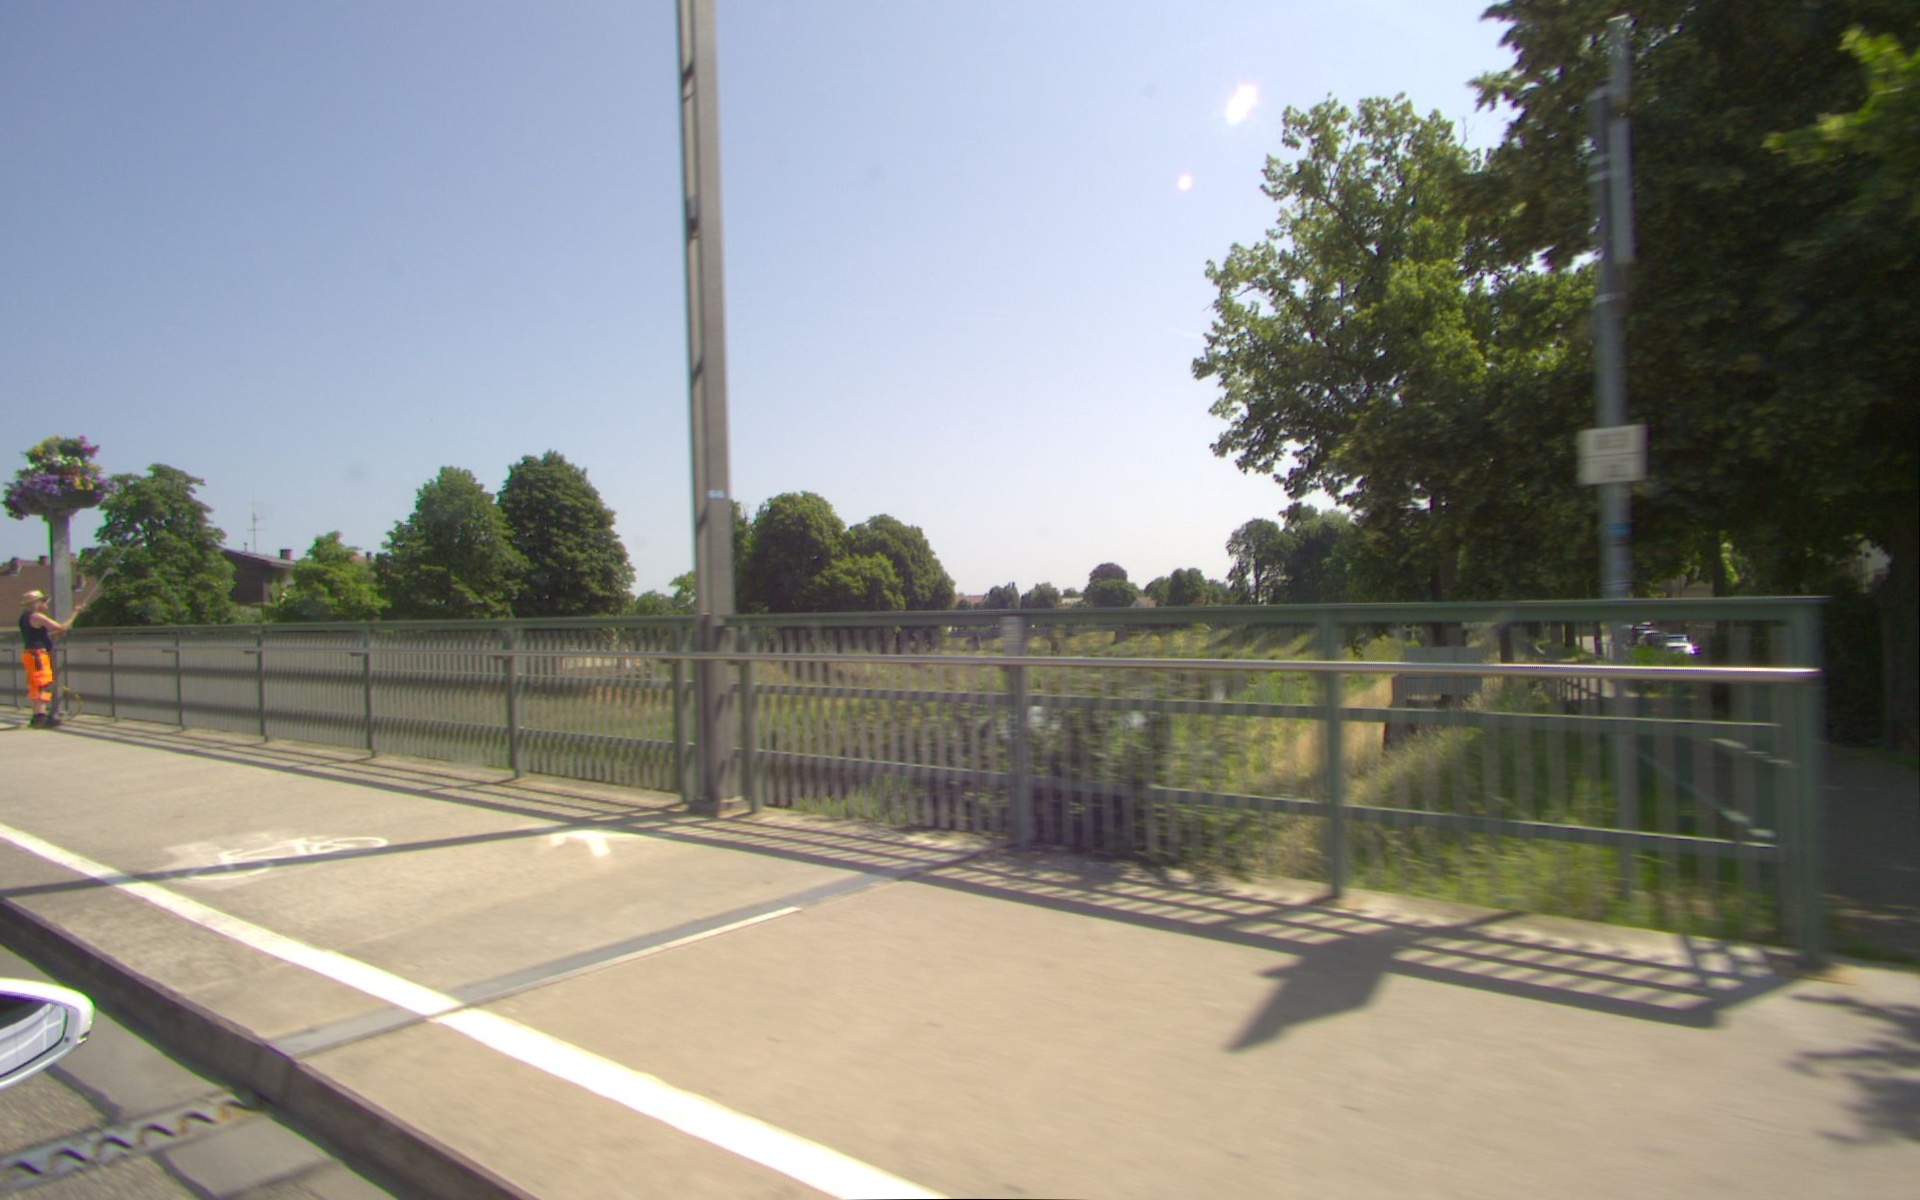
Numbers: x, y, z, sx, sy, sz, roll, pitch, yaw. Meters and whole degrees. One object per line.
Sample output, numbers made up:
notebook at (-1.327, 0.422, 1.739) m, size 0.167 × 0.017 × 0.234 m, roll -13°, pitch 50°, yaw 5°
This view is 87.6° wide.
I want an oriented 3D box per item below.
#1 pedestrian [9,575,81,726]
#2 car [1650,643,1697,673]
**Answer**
pedestrian at (-12.374, 0.670, 13.541) m, size 0.666 × 1.985 × 0.543 m, roll -2°, pitch -1°, yaw -44°
car at (38.589, 3.119, 54.231) m, size 1.565 × 1.571 × 3.737 m, roll -1°, pitch -2°, yaw 27°
